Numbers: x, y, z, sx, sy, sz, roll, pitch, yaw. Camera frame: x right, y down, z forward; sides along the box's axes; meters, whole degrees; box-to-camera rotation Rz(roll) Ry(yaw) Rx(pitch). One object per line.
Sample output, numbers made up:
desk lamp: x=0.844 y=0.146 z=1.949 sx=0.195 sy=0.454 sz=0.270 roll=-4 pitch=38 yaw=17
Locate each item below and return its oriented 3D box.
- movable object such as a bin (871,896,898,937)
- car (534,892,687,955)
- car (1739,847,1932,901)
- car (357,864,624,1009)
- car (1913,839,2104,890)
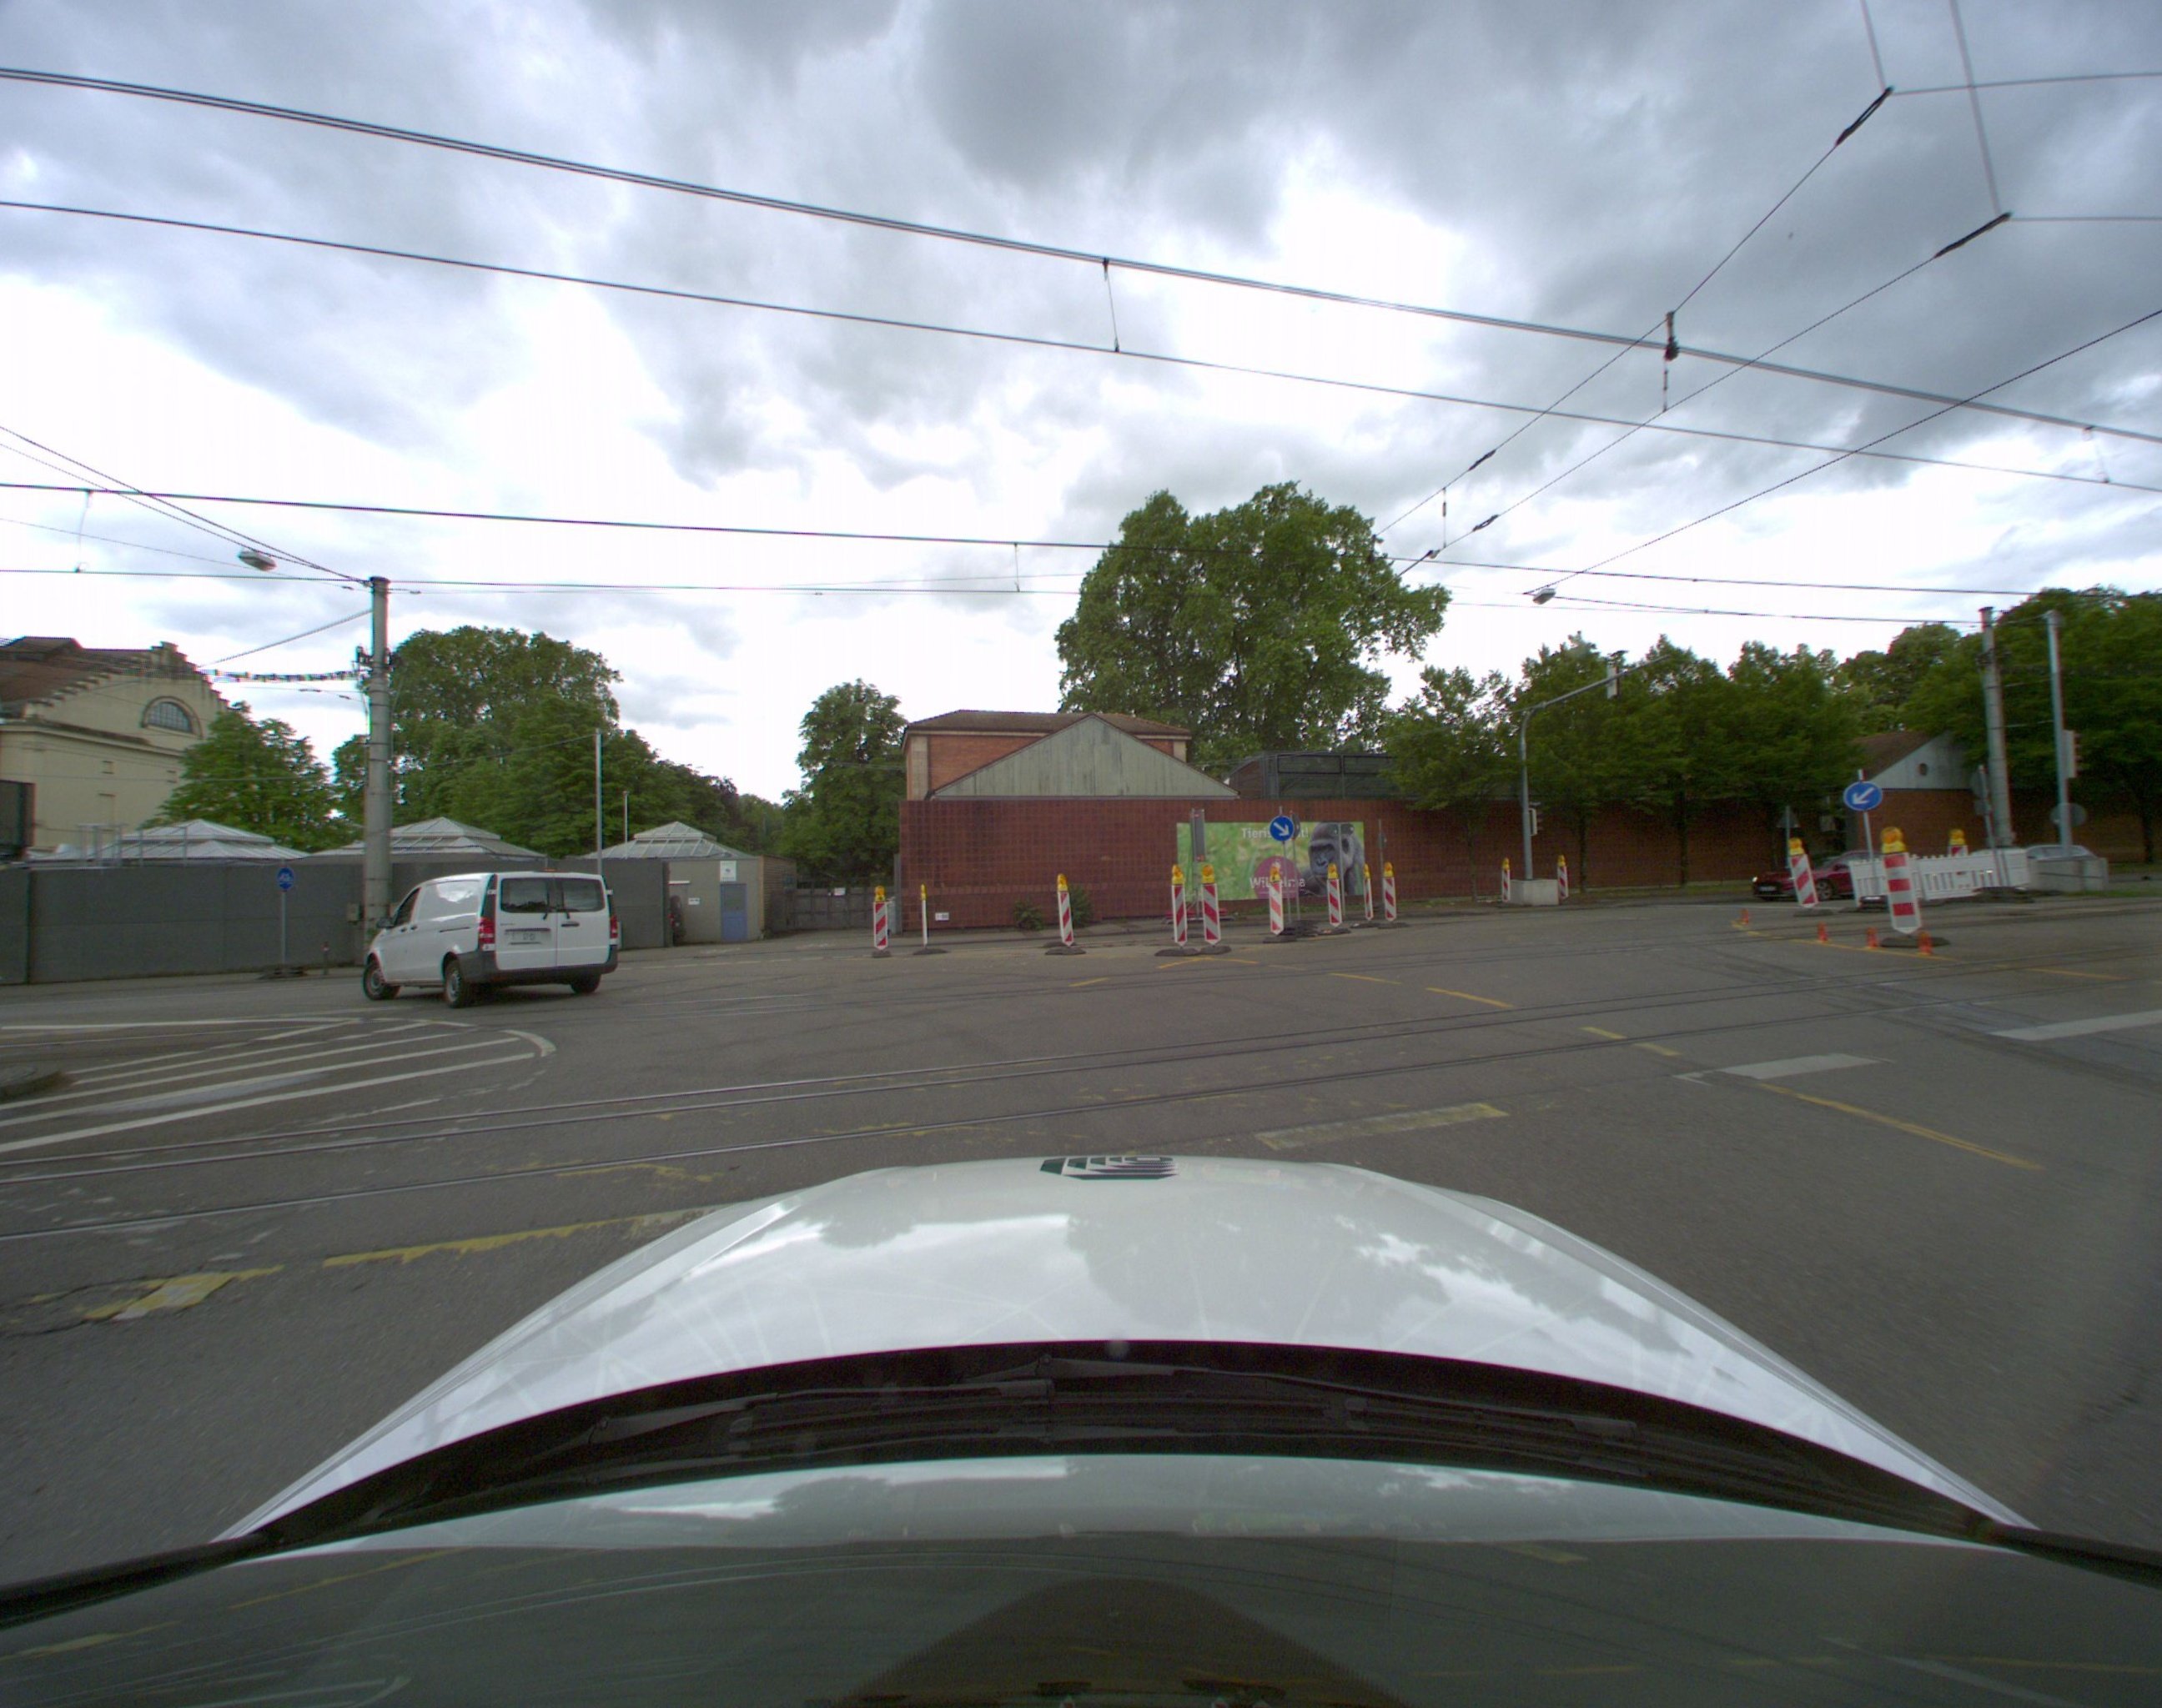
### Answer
movable object such as a bin: x=-6.816 y=2.167 z=28.269 sx=0.849 sy=1.340 sz=0.797 roll=-2 pitch=-3 yaw=-12
car: x=-17.264 y=2.531 z=30.159 sx=4.451 sy=2.085 sz=2.094 roll=-1 pitch=-4 yaw=-15
car: x=22.962 y=0.629 z=24.870 sx=4.440 sy=1.443 sz=1.875 roll=-1 pitch=-3 yaw=-7
car: x=-9.421 y=1.282 z=12.869 sx=4.640 sy=1.902 sz=1.936 roll=-6 pitch=-4 yaw=34
car: x=29.682 y=0.363 z=26.125 sx=4.440 sy=1.443 sz=1.798 roll=-1 pitch=-3 yaw=-7
